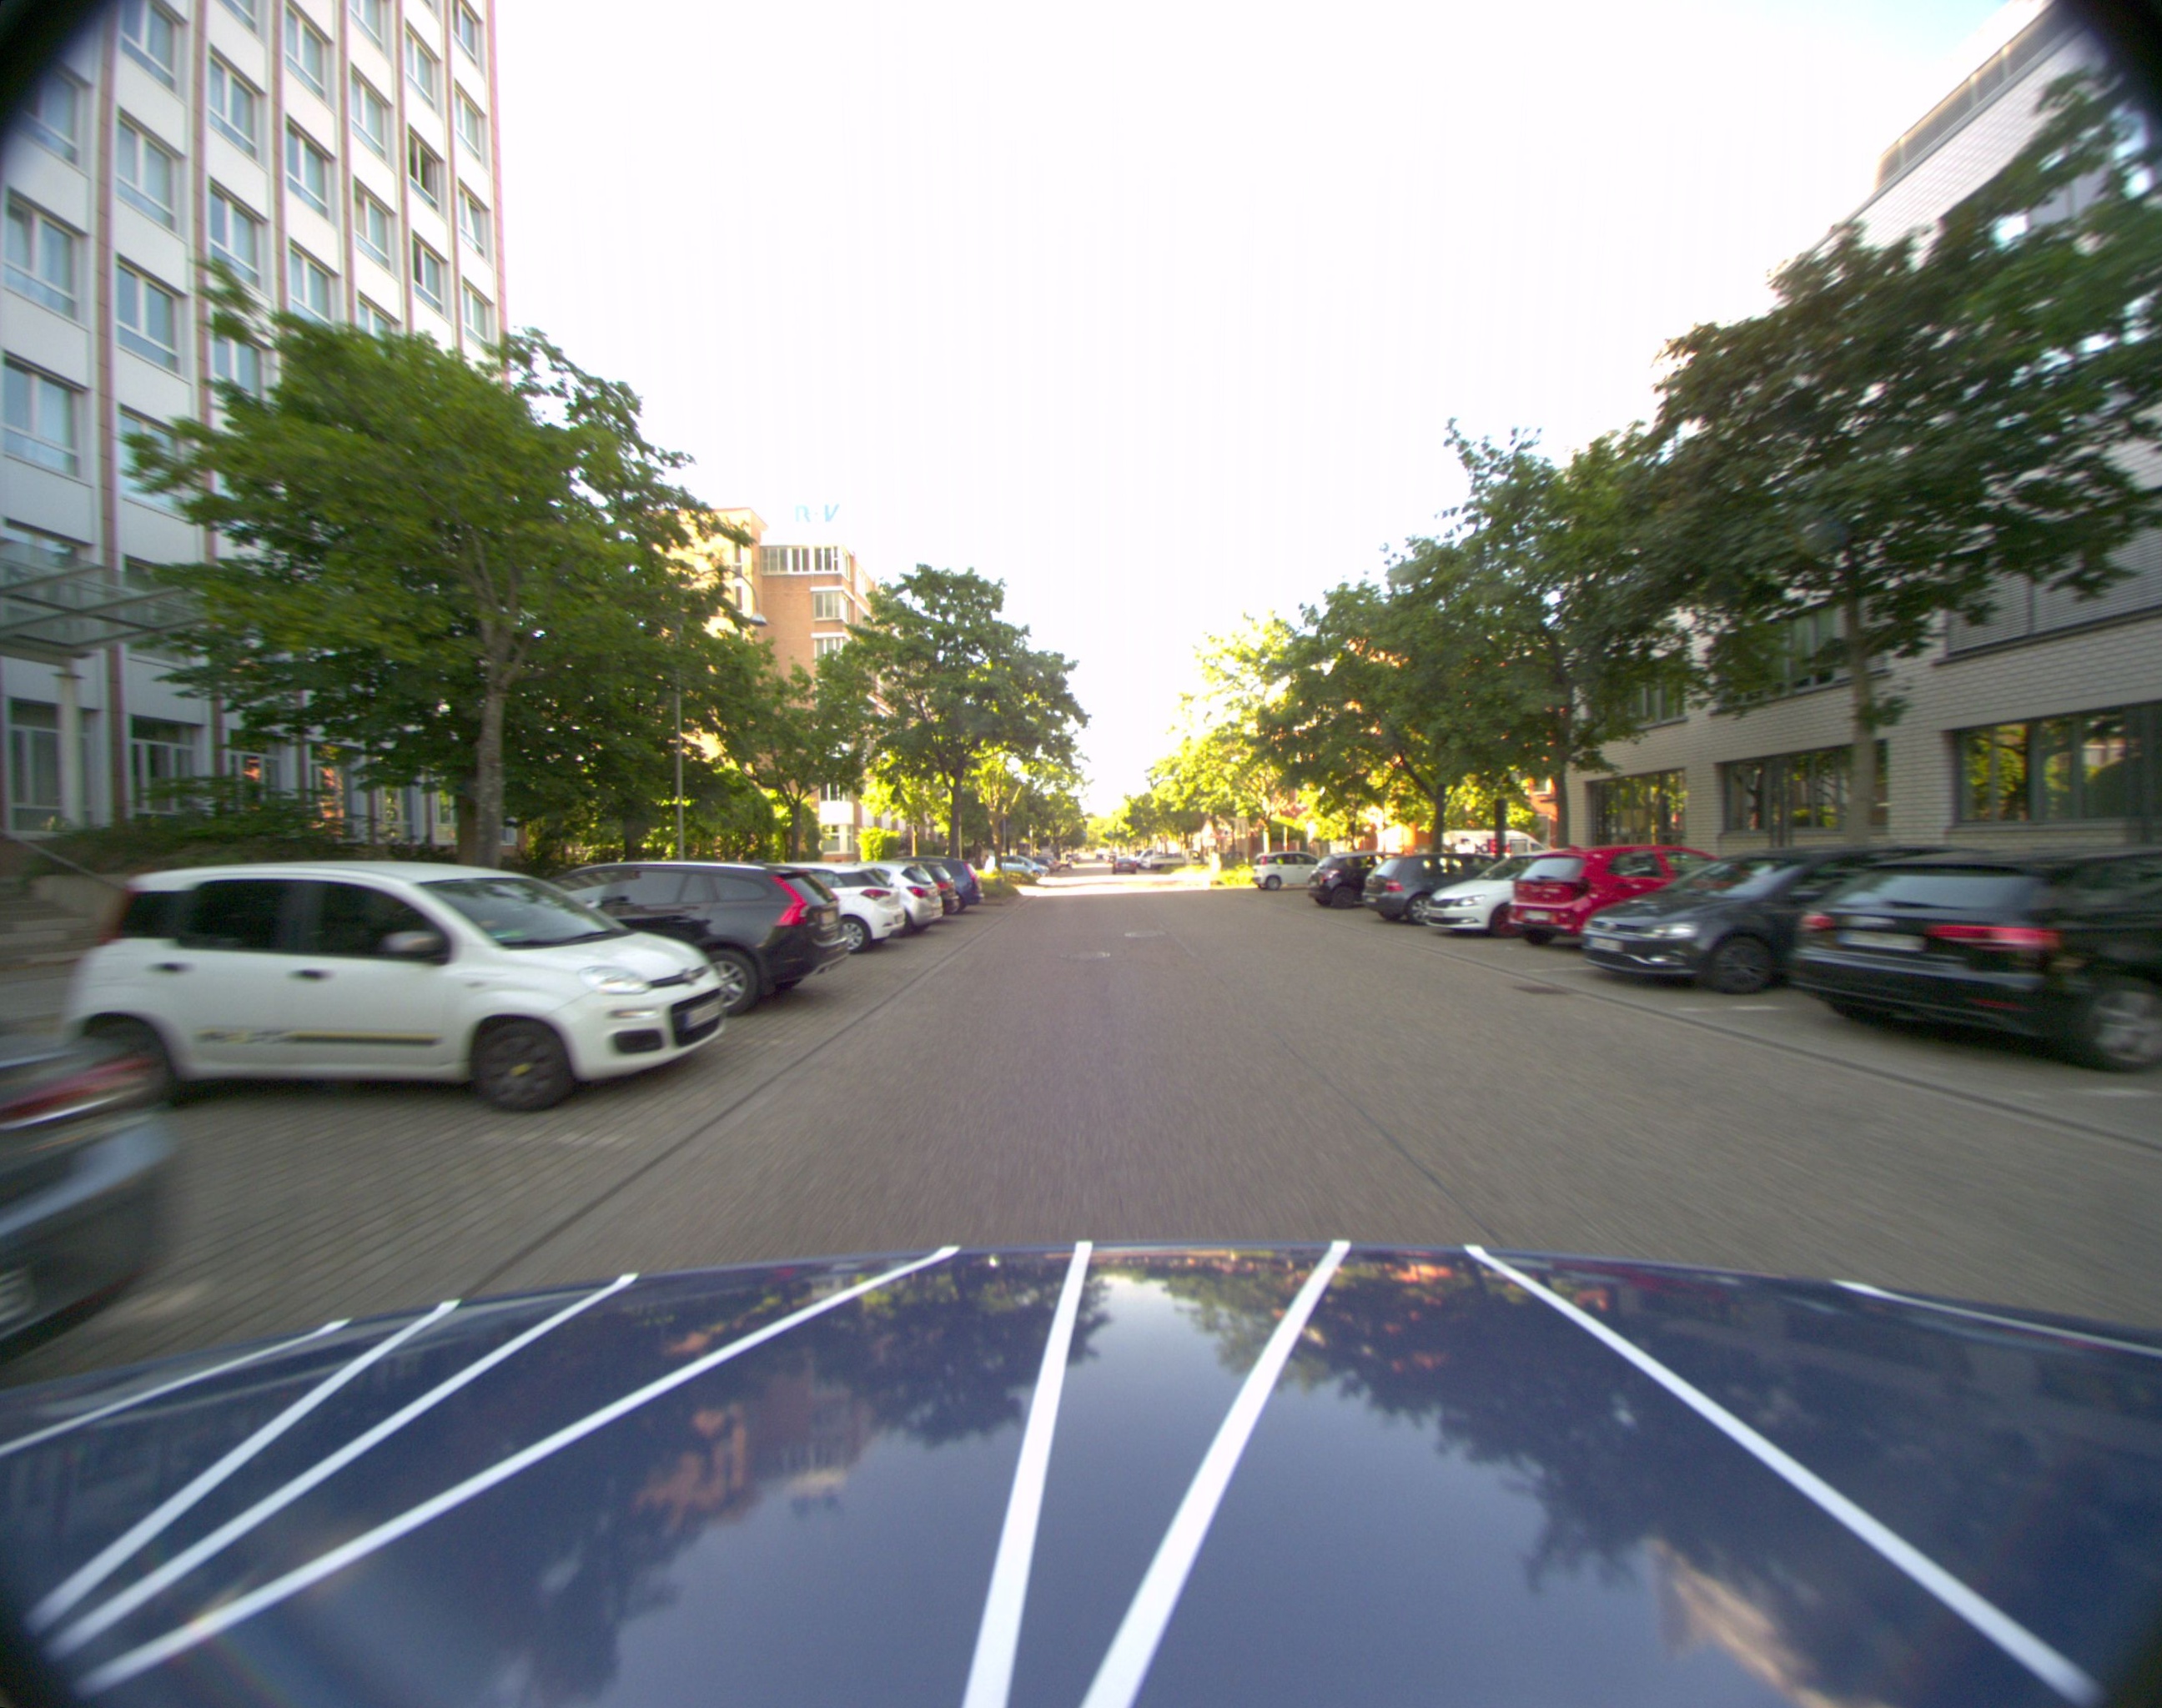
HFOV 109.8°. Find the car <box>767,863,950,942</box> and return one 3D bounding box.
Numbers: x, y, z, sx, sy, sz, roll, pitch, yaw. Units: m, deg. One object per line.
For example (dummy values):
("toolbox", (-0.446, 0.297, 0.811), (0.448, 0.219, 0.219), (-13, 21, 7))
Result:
("car", (-4.438, 0.938, 15.453), (3.203, 1.471, 1.589), (0, 1, 4))

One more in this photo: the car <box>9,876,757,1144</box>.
("car", (-4.427, 0.940, 5.299), (3.581, 1.498, 1.724), (0, 1, 0))

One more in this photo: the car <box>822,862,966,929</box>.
("car", (-4.391, 0.956, 18.094), (2.997, 1.451, 1.497), (0, 1, 3))

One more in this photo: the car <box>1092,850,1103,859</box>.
("car", (3.213, 0.161, 145.414), (1.951, 1.617, 4.000), (-2, 1, 4))

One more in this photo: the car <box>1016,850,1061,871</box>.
("car", (-3.864, 0.549, 69.779), (3.998, 1.774, 1.952), (-2, 1, -4))

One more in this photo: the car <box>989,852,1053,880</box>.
("car", (-4.003, 0.814, 51.491), (4.164, 1.696, 1.999), (-2, 1, -1))

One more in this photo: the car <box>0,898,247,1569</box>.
("car", (-4.768, 0.963, 1.351), (4.431, 1.544, 1.859), (-1, 0, 0))

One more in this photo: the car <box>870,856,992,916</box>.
("car", (-4.151, 0.862, 21.288), (3.053, 1.595, 1.604), (0, 1, 3))

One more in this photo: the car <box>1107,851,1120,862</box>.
("car", (5.081, 0.366, 117.411), (1.951, 1.555, 4.001), (-1, 0, 4))

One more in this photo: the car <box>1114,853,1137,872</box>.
("car", (3.616, 0.683, 61.200), (1.766, 1.365, 4.000), (-2, 1, 4))

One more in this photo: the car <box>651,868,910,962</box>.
("car", (-4.971, 0.993, 12.946), (3.754, 1.444, 1.657), (0, 1, -1))

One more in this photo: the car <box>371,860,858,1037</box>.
("car", (-4.587, 0.881, 7.969), (3.982, 1.540, 1.683), (-1, 1, -3))

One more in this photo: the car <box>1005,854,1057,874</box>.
("car", (-4.010, 0.798, 61.533), (3.996, 1.463, 1.953), (-2, 1, 2))
